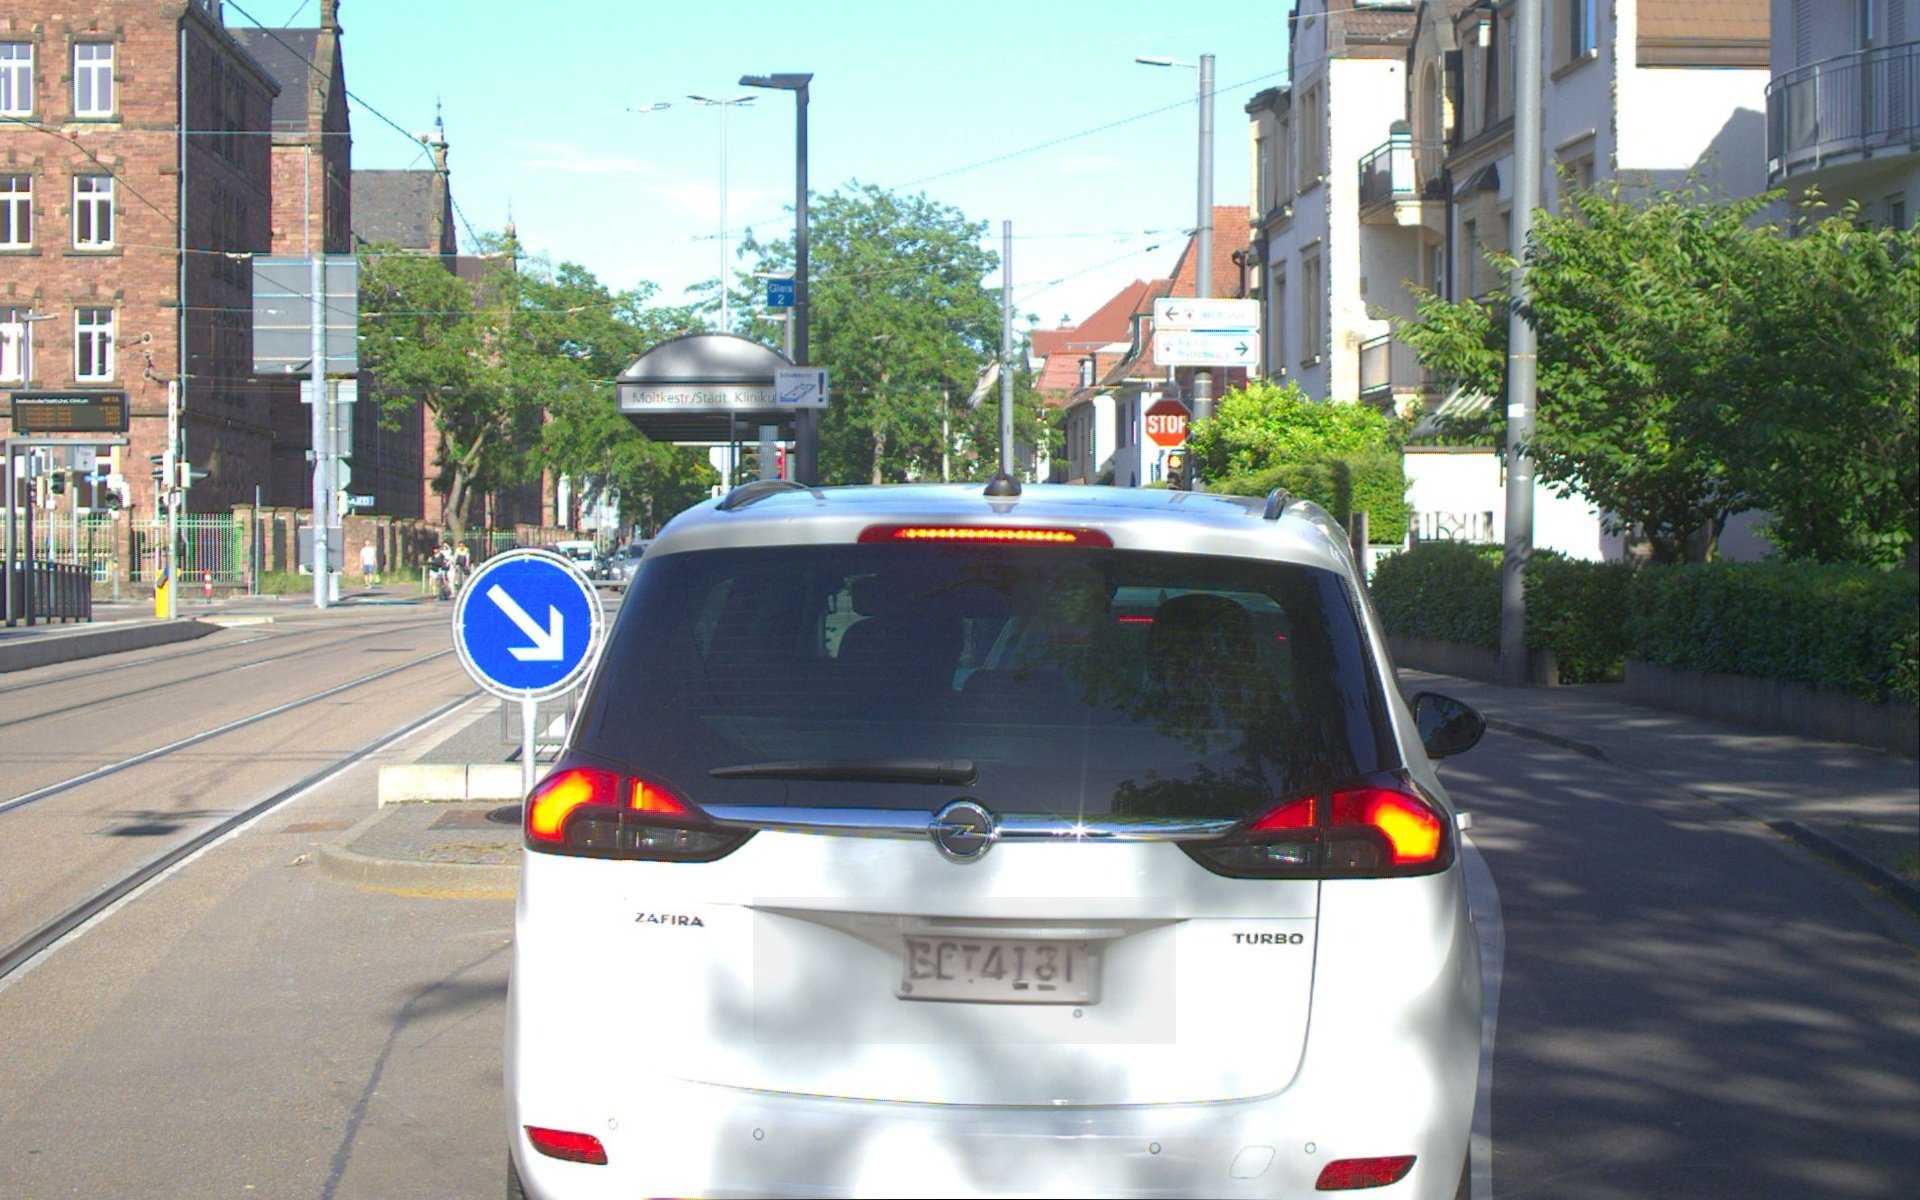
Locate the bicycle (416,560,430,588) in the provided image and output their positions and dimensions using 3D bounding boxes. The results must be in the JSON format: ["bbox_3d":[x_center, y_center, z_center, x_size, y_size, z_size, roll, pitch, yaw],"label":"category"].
[{"bbox_3d":[-17.986,-0.877,115.135,0.344,0.946,0.997,1,0,-4],"label":"bicycle"}]

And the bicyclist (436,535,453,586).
[{"bbox_3d":[-15.474,-1.190,103.278,0.444,1.548,0.743,0,1,-4],"label":"bicyclist"}]

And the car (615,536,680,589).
[{"bbox_3d":[-9.736,-1.195,107.305,1.993,1.623,4.001,0,1,-5],"label":"car"}]

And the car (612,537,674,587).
[{"bbox_3d":[-10.533,-1.278,114.412,1.993,1.623,4.001,0,1,-5],"label":"car"}]

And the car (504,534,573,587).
[{"bbox_3d":[-13.116,-1.231,107.082,1.993,1.623,4.001,0,1,-5],"label":"car"}]

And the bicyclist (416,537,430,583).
[{"bbox_3d":[-17.981,-1.343,115.091,0.444,1.548,0.496,0,1,-4],"label":"bicyclist"}]

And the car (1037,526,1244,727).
[{"bbox_3d":[1.491,0.175,29.250,1.637,1.595,3.854,0,1,2],"label":"car"}]

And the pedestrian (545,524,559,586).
[{"bbox_3d":[-13.315,-1.478,112.241,0.444,2.007,0.496,0,1,-4],"label":"pedestrian"}]

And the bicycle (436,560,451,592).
[{"bbox_3d":[-15.483,-0.721,103.078,0.344,0.946,1.160,1,0,-4],"label":"bicycle"}]

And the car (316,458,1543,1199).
[{"bbox_3d":[0.134,0.580,7.597,1.994,1.639,3.992,1,1,6],"label":"car"}]

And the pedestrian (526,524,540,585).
[{"bbox_3d":[-13.907,-1.484,111.969,0.444,2.007,0.496,0,1,-4],"label":"pedestrian"}]

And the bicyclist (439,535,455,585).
[{"bbox_3d":[-15.893,-1.227,106.561,0.444,1.548,0.496,0,1,-4],"label":"bicyclist"}]

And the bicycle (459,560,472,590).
[{"bbox_3d":[-15.698,-0.786,109.160,0.344,0.946,0.997,1,0,-4],"label":"bicycle"}]

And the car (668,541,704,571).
[{"bbox_3d":[-15.403,-2.478,192.852,1.993,1.623,3.989,0,1,-5],"label":"car"}]

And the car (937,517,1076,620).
[{"bbox_3d":[0.665,-0.492,51.754,1.993,1.497,4.000,0,1,-1],"label":"car"}]

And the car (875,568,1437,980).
[{"bbox_3d":[0.742,0.586,13.977,1.953,1.392,4.000,0,1,2],"label":"car"}]

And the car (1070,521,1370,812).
[{"bbox_3d":[1.490,0.328,20.823,1.637,1.595,3.854,0,1,2],"label":"car"}]

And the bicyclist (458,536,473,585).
[{"bbox_3d":[-15.688,-1.250,109.145,0.444,1.548,0.496,0,1,-4],"label":"bicyclist"}]

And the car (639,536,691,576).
[{"bbox_3d":[-12.236,-1.836,142.840,1.993,1.623,4.001,0,1,-2],"label":"car"}]

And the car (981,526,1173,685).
[{"bbox_3d":[1.174,0.021,36.174,1.830,1.574,4.010,0,1,-1],"label":"car"}]
